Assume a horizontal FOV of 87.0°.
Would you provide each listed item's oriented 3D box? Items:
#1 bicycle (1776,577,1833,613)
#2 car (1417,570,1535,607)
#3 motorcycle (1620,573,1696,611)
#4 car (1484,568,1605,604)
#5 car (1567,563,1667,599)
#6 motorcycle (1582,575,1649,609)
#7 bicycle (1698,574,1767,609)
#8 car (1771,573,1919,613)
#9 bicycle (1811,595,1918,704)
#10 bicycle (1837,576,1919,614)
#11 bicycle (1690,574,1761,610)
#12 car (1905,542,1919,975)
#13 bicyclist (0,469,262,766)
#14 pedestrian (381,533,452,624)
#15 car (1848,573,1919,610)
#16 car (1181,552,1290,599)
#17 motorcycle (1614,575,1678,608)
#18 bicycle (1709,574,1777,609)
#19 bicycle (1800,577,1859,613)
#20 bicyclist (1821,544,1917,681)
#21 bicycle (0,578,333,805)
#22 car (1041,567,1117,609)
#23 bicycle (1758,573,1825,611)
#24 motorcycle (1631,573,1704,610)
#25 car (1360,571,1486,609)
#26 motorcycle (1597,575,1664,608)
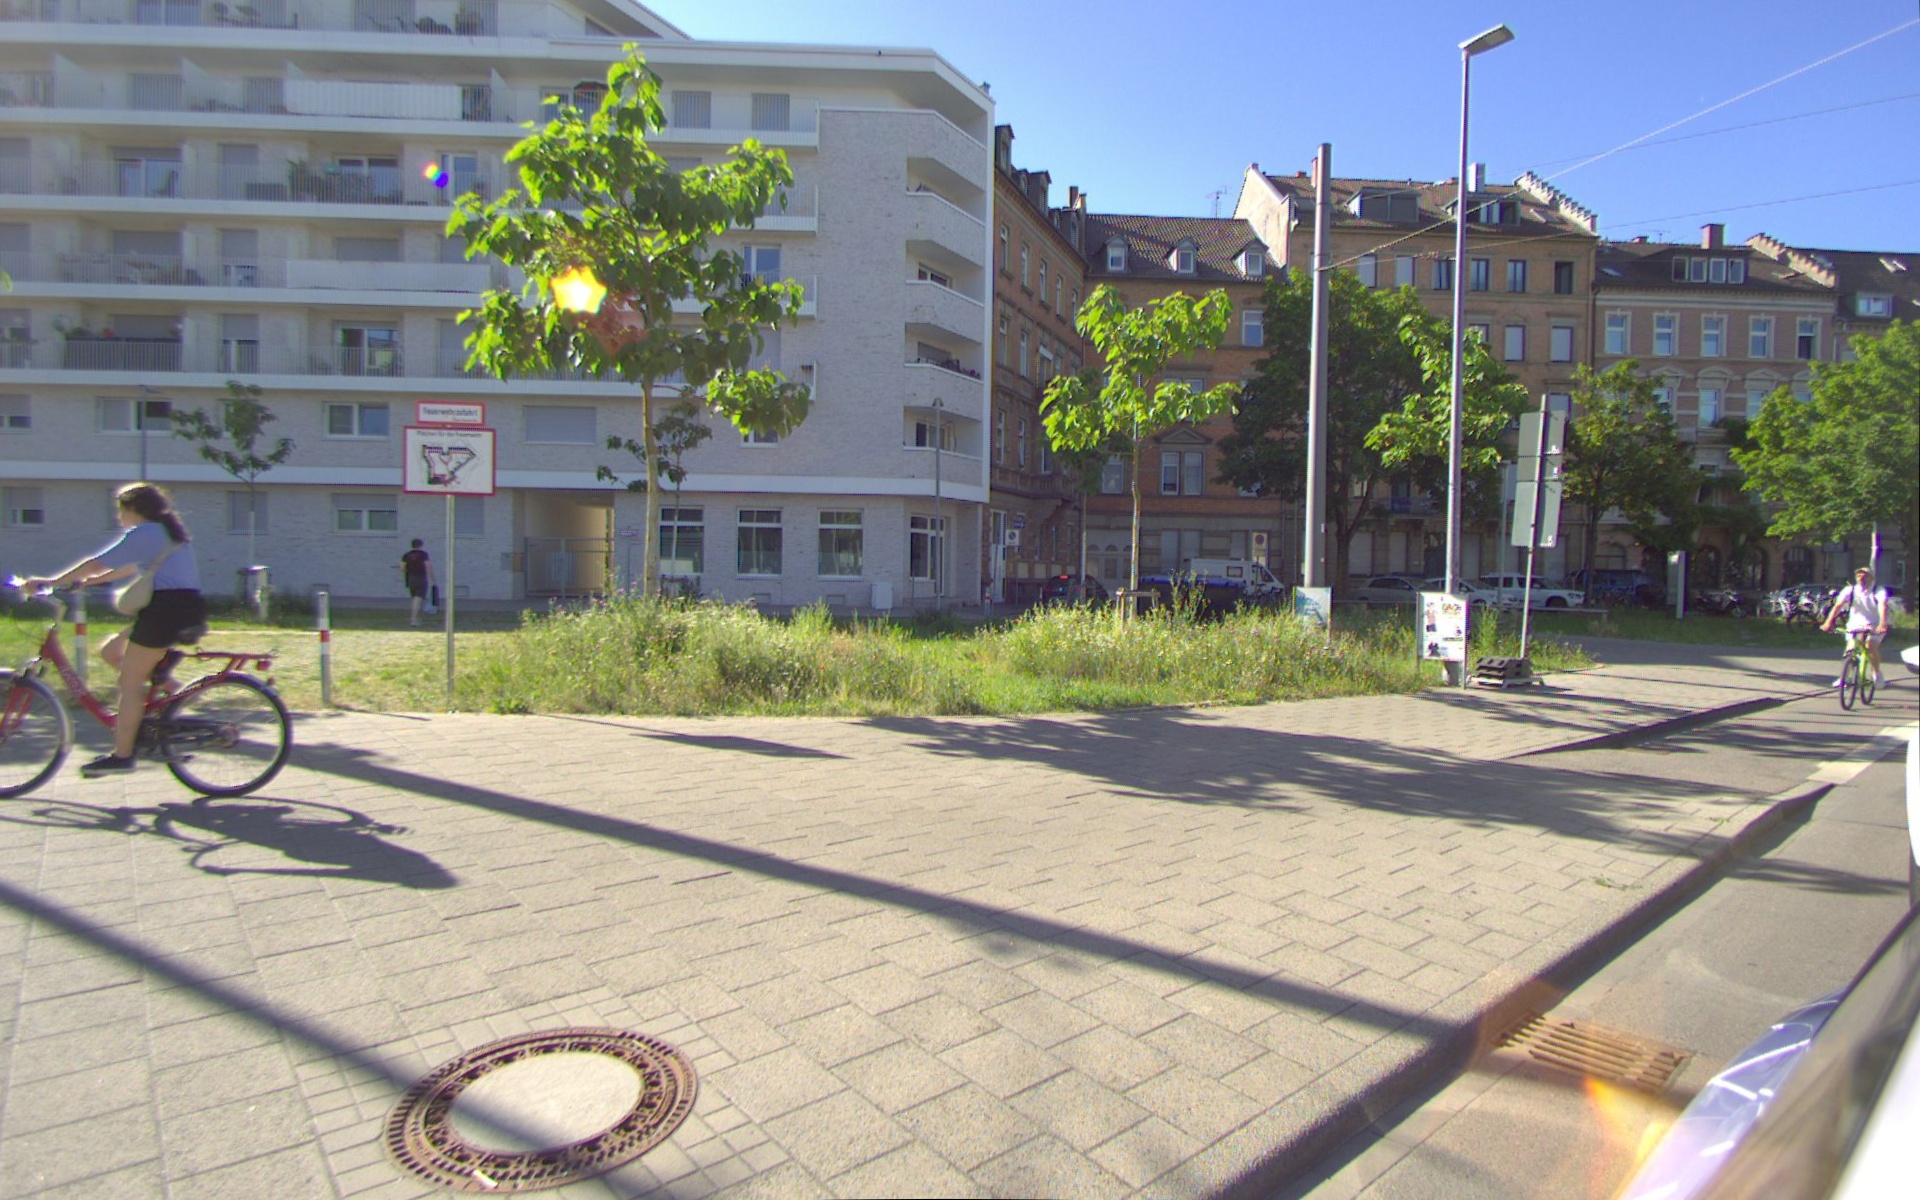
[{"bbox_3d":[30.942,-0.183,37.110,0.653,1.284,2.196,0,0,12],"label":"bicycle"},{"bbox_3d":[19.673,-0.466,38.717,1.648,1.267,3.709,0,3,-28],"label":"car"},{"bbox_3d":[25.340,-0.304,36.779,0.650,1.347,2.207,0,0,-28],"label":"motorcycle"},{"bbox_3d":[22.330,-0.577,38.773,1.513,1.267,3.700,-1,3,-39],"label":"car"},{"bbox_3d":[30.877,-0.919,47.649,3.631,1.607,1.552,1,2,0],"label":"car"},{"bbox_3d":[26.028,-0.326,40.225,0.649,1.293,2.324,0,0,-18],"label":"motorcycle"},{"bbox_3d":[29.082,-0.318,38.151,0.649,1.284,2.208,0,0,-9],"label":"bicycle"},{"bbox_3d":[34.687,-0.319,39.592,1.651,1.423,4.324,-1,3,-38],"label":"car"},{"bbox_3d":[12.097,0.626,13.524,1.716,1.343,0.716,0,2,-38],"label":"bicycle"},{"bbox_3d":[31.631,-0.165,34.763,2.180,1.284,0.657,0,0,25],"label":"bicycle"},{"bbox_3d":[28.371,-0.308,37.564,0.649,1.284,2.208,0,0,-11],"label":"bicycle"},{"bbox_3d":[5.870,0.609,4.716,4.323,1.667,1.840,0,0,-43],"label":"car"},{"bbox_3d":[-4.375,0.080,5.370,0.920,1.454,0.670,0,1,-13],"label":"bicyclist"},{"bbox_3d":[-10.765,-0.436,20.071,0.829,1.717,0.985,2,2,2],"label":"pedestrian"},{"bbox_3d":[37.823,-0.327,39.961,1.649,1.423,3.832,-1,3,-32],"label":"car"},{"bbox_3d":[12.662,-1.152,46.782,4.416,2.062,2.054,1,2,0],"label":"car"},{"bbox_3d":[27.489,-0.333,40.610,0.649,1.284,2.209,0,0,-18],"label":"motorcycle"},{"bbox_3d":[29.725,-0.324,38.463,0.649,1.284,2.208,0,0,-9],"label":"bicycle"},{"bbox_3d":[32.036,-0.191,37.333,0.653,1.284,2.196,0,0,12],"label":"bicycle"},{"bbox_3d":[12.167,0.142,13.543,1.074,1.747,0.716,0,2,-38],"label":"bicyclist"},{"bbox_3d":[-4.454,0.460,5.383,1.782,1.085,0.671,1,3,-12],"label":"bicycle"},{"bbox_3d":[4.568,-0.503,38.297,1.811,1.444,4.359,1,2,21],"label":"car"},{"bbox_3d":[29.275,-0.290,35.673,0.651,1.284,2.202,0,0,4],"label":"bicycle"},{"bbox_3d":[26.156,-0.319,37.468,0.649,1.339,2.208,0,0,-23],"label":"motorcycle"},{"bbox_3d":[17.350,-0.420,38.107,1.648,1.267,4.170,0,3,-28],"label":"car"},{"bbox_3d":[26.699,-0.334,40.356,0.649,1.300,2.324,0,0,-18],"label":"motorcycle"}]
